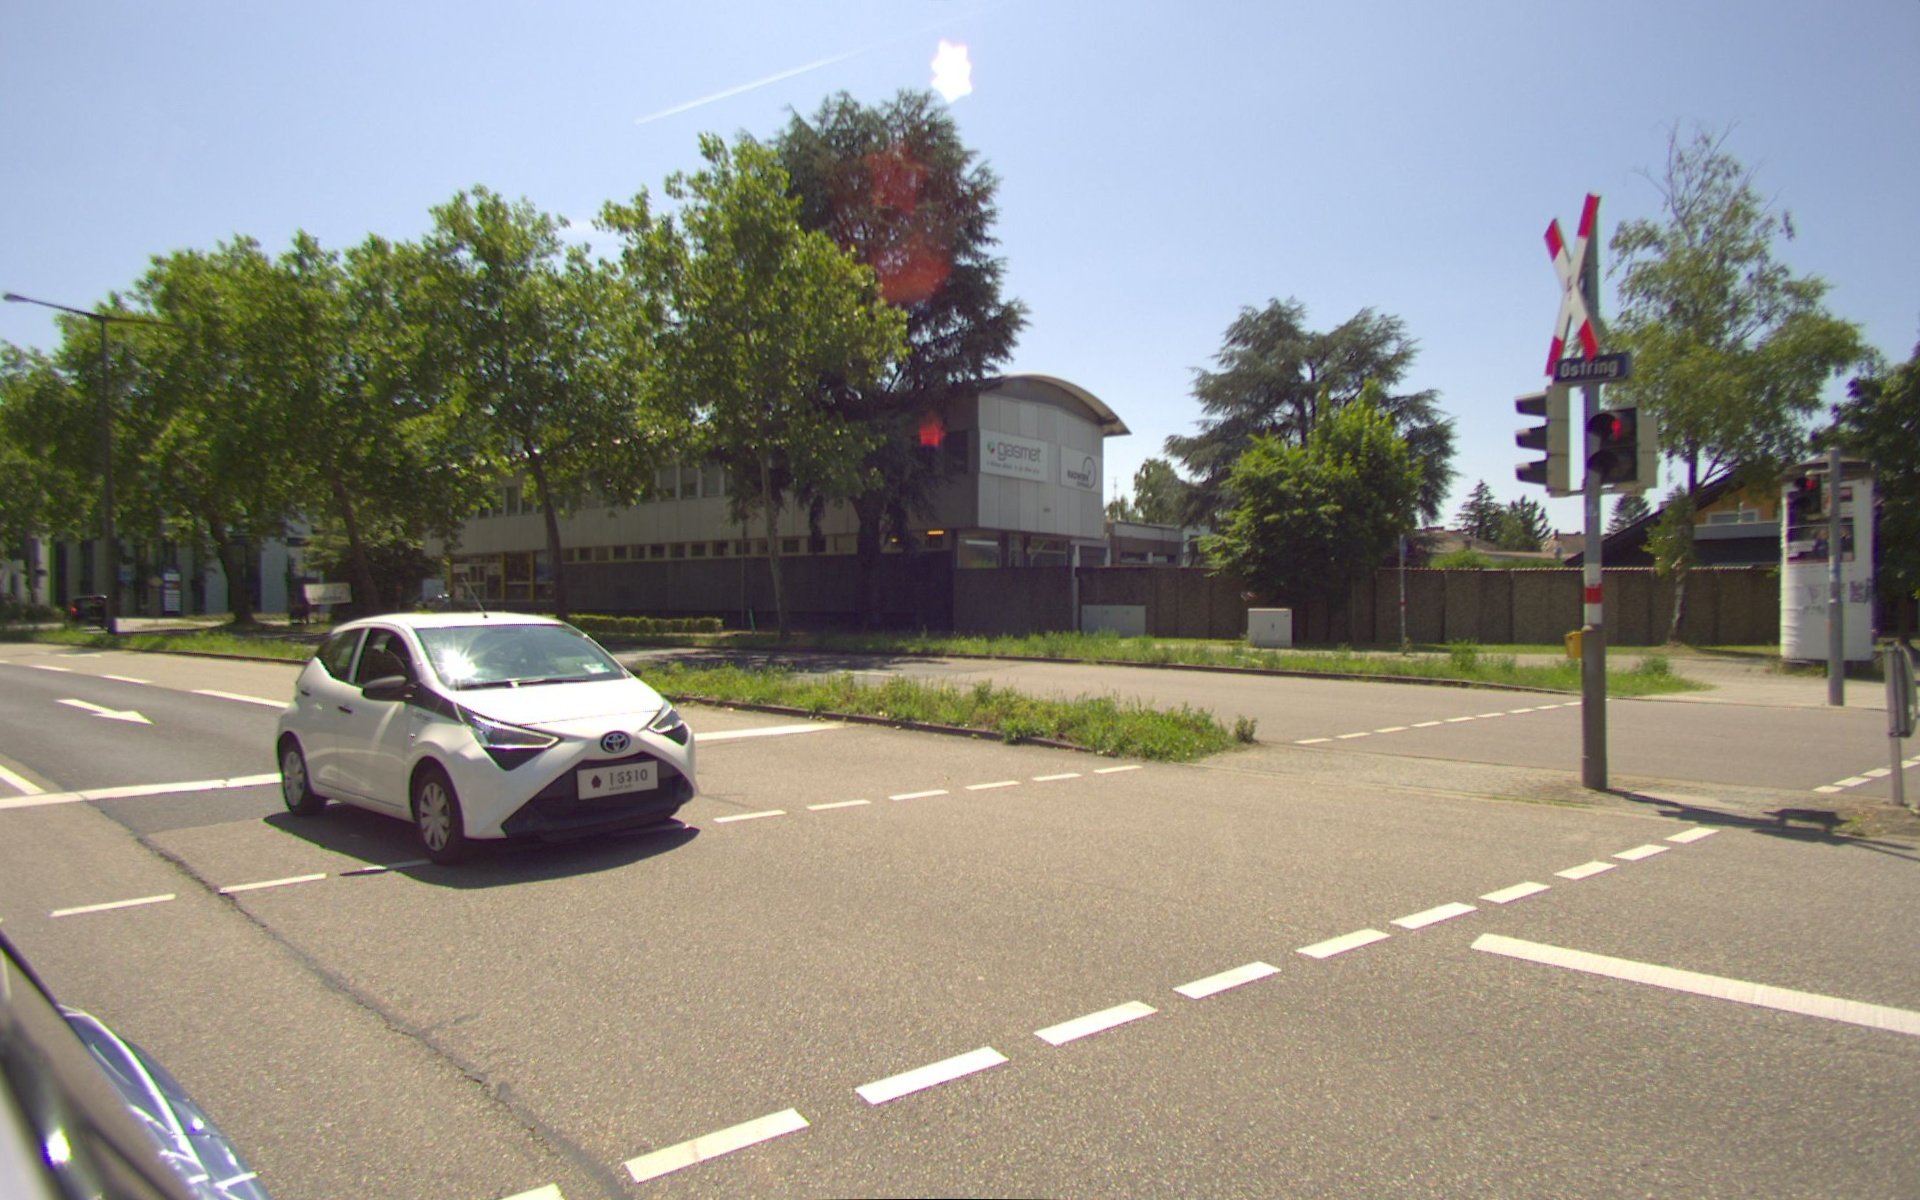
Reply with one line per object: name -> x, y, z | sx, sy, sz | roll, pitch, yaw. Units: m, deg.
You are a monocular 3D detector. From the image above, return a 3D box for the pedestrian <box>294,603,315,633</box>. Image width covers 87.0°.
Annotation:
pedestrian -> -34.355, 0.953, 53.043 | 0.788, 1.572, 0.637 | 0, 0, 30

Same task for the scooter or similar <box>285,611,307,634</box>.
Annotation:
scooter or similar -> -35.065, 1.186, 53.456 | 0.856, 1.172, 0.673 | -1, 0, 30

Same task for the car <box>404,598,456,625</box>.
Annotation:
car -> -35.084, 0.741, 66.978 | 3.523, 1.659, 1.798 | 0, 2, 39

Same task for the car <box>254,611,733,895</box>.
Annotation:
car -> -3.365, 0.814, 7.024 | 3.648, 1.456, 1.603 | -1, 0, 39

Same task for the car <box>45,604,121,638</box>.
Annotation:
car -> -45.847, 1.086, 52.894 | 4.431, 1.692, 1.896 | -1, 0, 33
